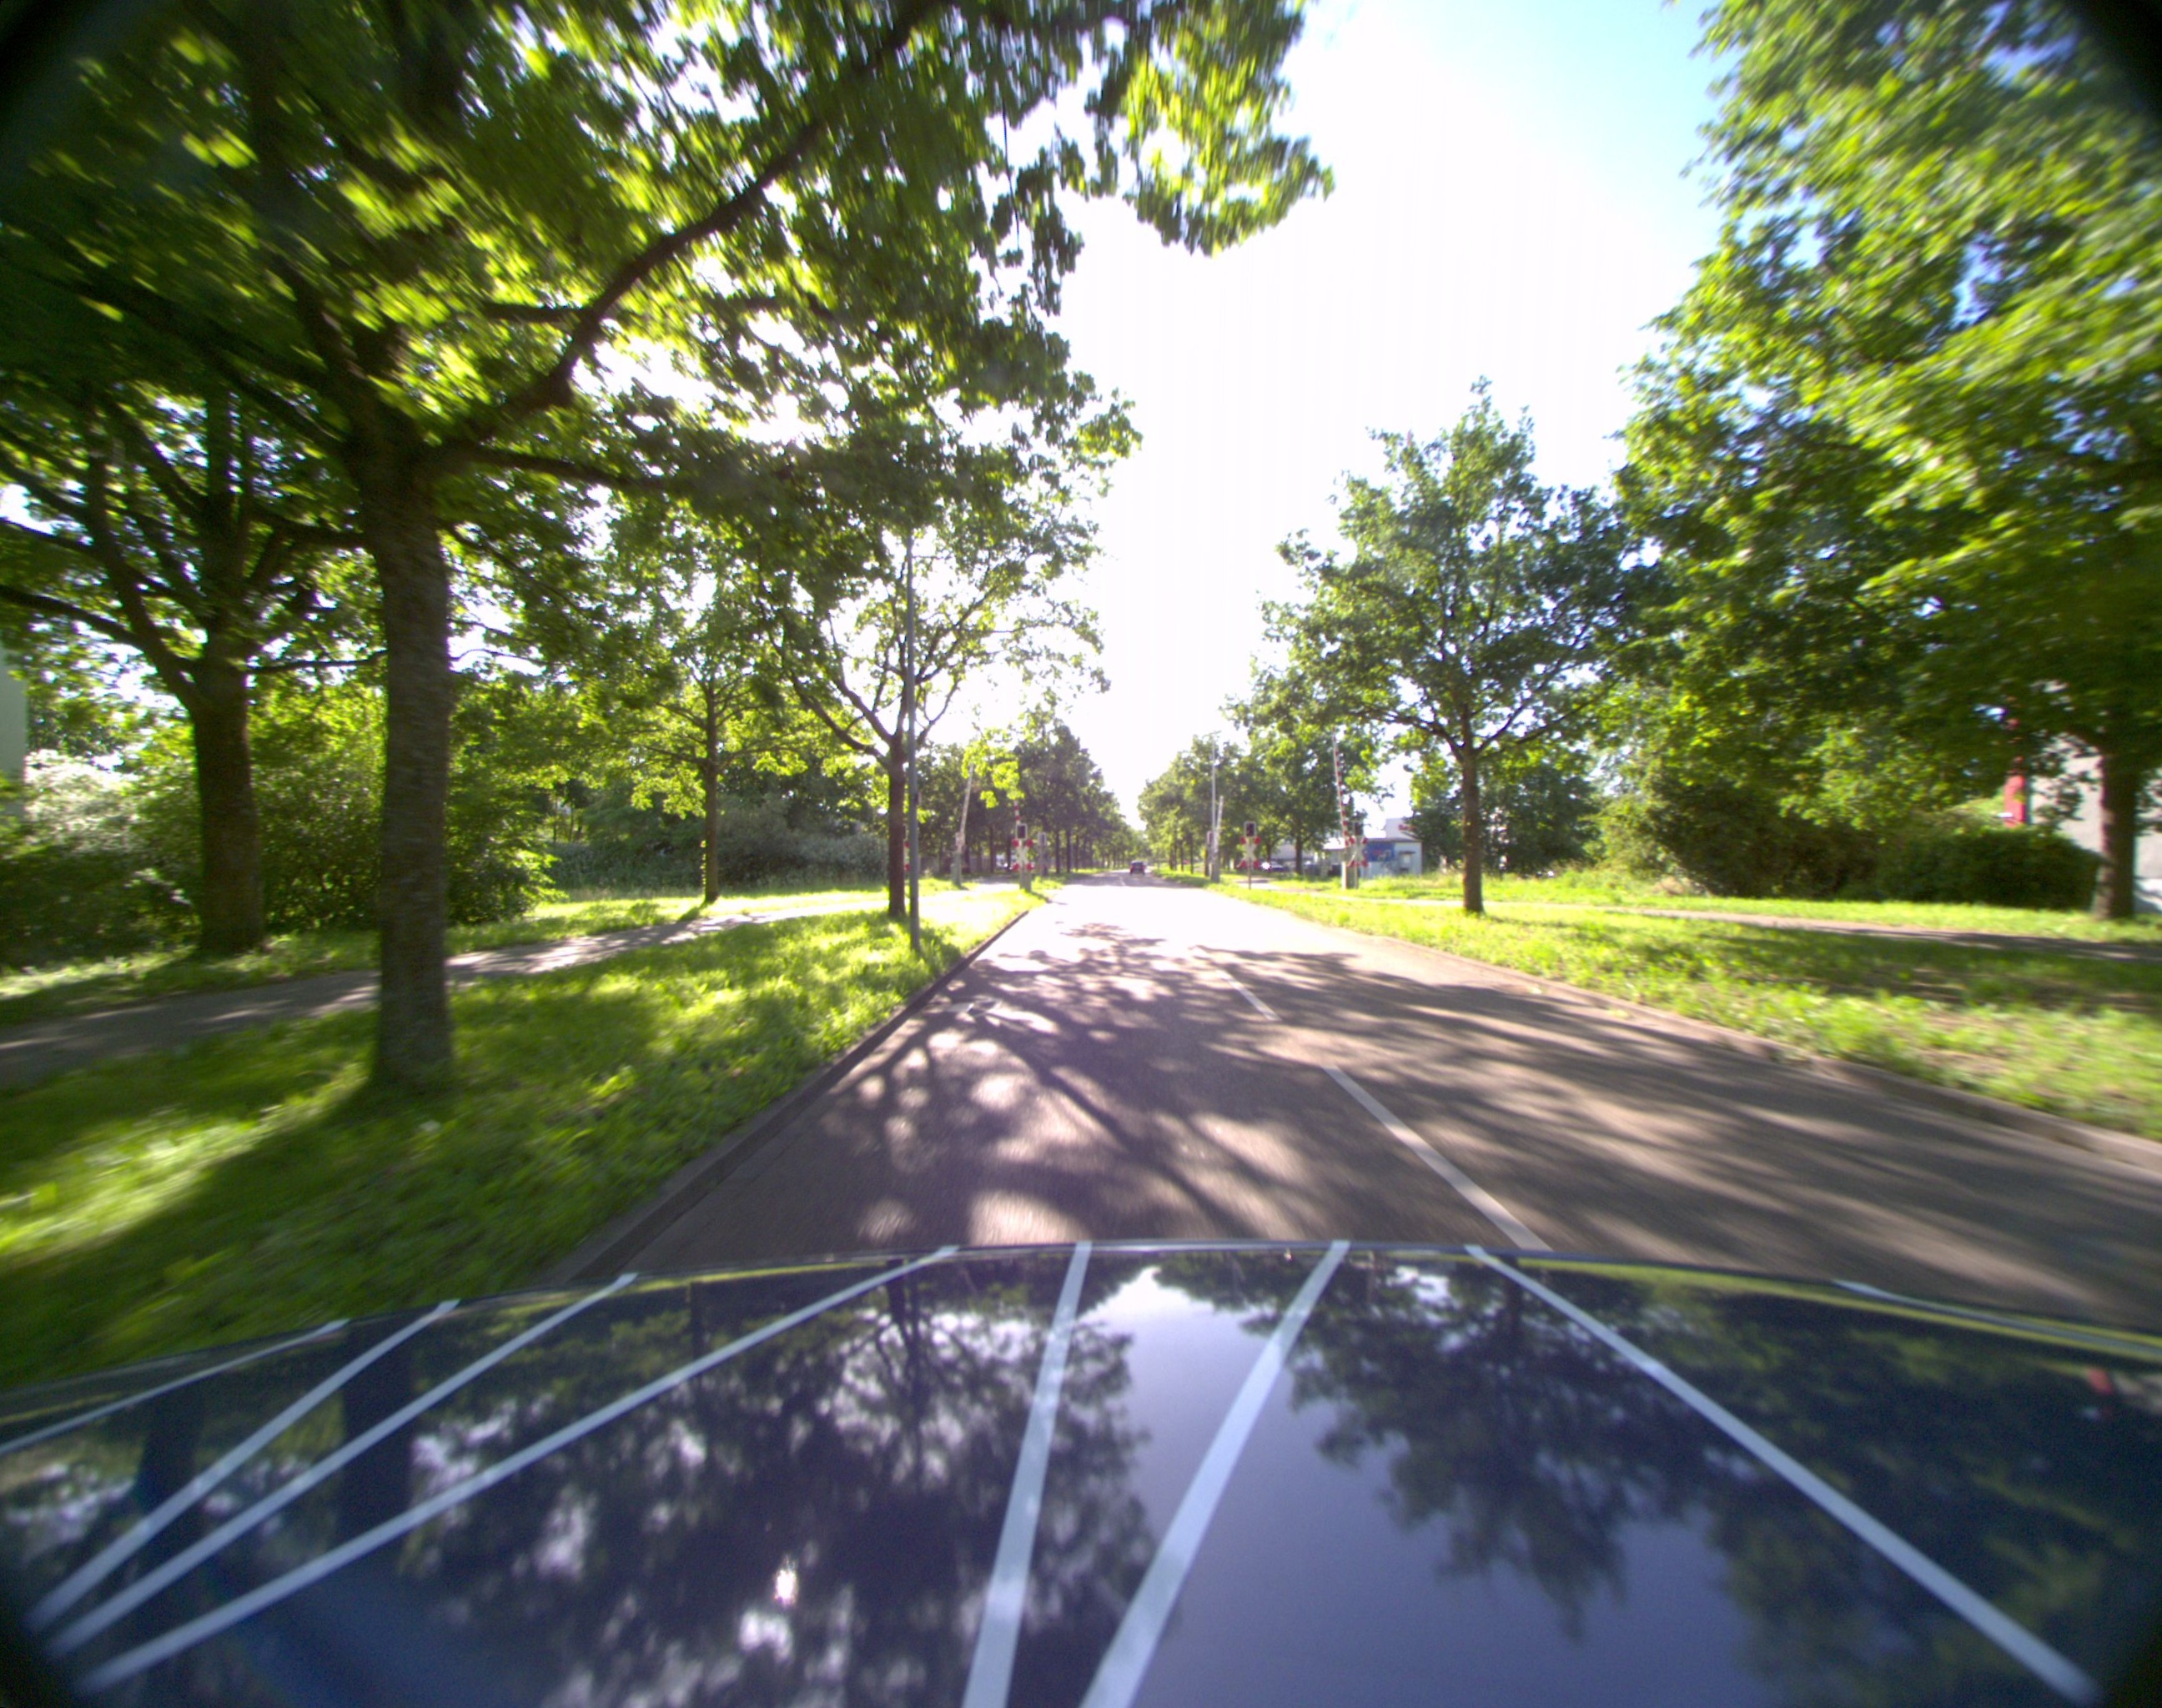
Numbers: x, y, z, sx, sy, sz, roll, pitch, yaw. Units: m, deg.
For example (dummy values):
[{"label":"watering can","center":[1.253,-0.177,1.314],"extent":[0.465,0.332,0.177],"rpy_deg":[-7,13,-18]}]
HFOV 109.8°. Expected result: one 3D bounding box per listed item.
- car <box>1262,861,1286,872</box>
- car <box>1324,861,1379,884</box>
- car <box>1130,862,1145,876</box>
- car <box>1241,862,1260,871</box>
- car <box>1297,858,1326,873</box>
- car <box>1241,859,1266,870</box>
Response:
[{"label":"car","center":[31.247,2.004,122.932],"extent":[2.000,1.665,4.496],"rpy_deg":[-2,0,-10]},{"label":"car","center":[23.251,1.578,65.361],"extent":[3.998,1.791,2.000],"rpy_deg":[-2,0,-2]},{"label":"car","center":[6.126,1.621,82.167],"extent":[1.569,1.495,4.002],"rpy_deg":[1,-1,4]},{"label":"car","center":[25.440,1.869,113.996],"extent":[2.569,1.461,1.428],"rpy_deg":[0,0,22]},{"label":"car","center":[25.389,1.258,83.942],"extent":[1.998,1.588,5.017],"rpy_deg":[-2,0,4]},{"label":"car","center":[29.404,1.818,129.892],"extent":[3.994,1.732,2.001],"rpy_deg":[-2,0,9]}]
